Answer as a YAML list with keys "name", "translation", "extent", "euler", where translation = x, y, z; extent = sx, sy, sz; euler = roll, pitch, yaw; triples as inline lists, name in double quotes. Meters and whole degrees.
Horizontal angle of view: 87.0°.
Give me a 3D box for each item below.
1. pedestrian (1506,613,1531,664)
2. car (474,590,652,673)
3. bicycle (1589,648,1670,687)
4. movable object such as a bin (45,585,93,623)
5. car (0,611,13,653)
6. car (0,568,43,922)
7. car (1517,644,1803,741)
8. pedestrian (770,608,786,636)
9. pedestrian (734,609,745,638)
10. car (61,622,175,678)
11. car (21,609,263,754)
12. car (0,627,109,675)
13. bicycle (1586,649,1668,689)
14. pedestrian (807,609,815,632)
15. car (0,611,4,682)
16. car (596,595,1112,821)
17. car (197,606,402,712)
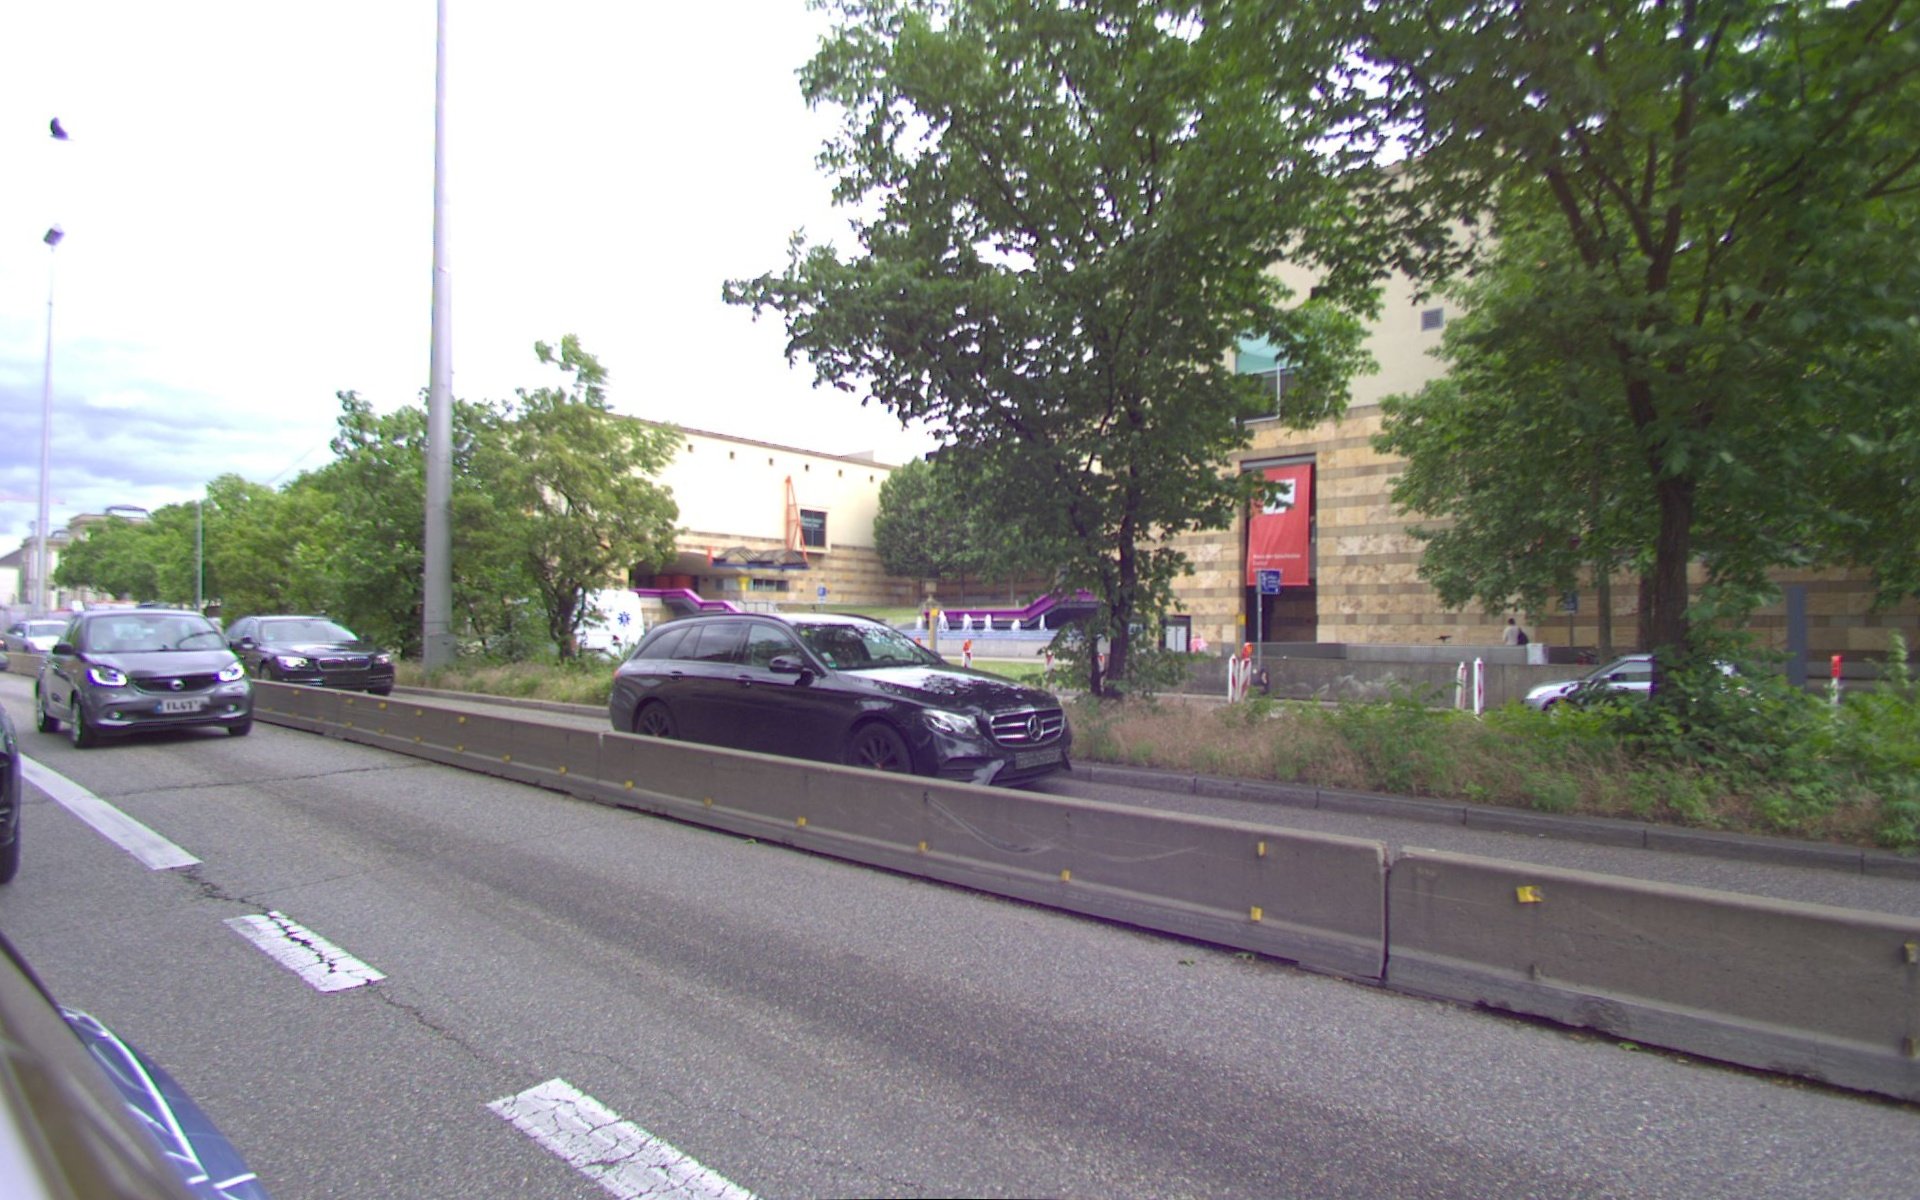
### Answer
- name: "pedestrian"
  translation: [17.401, 1.191, 31.511]
  extent: [0.620, 1.581, 0.434]
  euler: [-1, -2, 34]
- name: "car"
  translation: [-10.653, 0.840, 26.920]
  extent: [5.576, 1.984, 2.093]
  euler: [-2, -2, 42]
- name: "bicycle"
  translation: [19.018, 1.893, 28.781]
  extent: [0.559, 0.998, 1.847]
  euler: [-1, 0, -43]
- name: "movable object such as a bin"
  translation: [-54.657, 0.269, 62.061]
  extent: [3.286, 2.202, 1.508]
  euler: [-1, -2, 36]
- name: "car"
  translation: [-39.402, 1.251, 40.293]
  extent: [4.038, 1.633, 1.760]
  euler: [-1, -1, 36]
- name: "car"
  translation: [-6.706, 0.707, 5.301]
  extent: [4.190, 1.670, 1.887]
  euler: [-1, -2, 34]
- name: "car"
  translation: [12.345, 1.542, 17.987]
  extent: [3.998, 1.469, 1.829]
  euler: [-2, -2, 41]
- name: "pedestrian"
  translation: [-12.455, 1.518, 69.357]
  extent: [0.803, 1.867, 0.684]
  euler: [-1, 0, 42]
- name: "pedestrian"
  translation: [-14.656, 1.564, 67.286]
  extent: [0.682, 1.867, 0.806]
  euler: [-1, 0, -13]
- name: "car"
  translation: [-24.774, 1.413, 29.750]
  extent: [3.846, 1.518, 1.657]
  euler: [-1, -1, 36]
- name: "car"
  translation: [-10.202, 0.879, 12.523]
  extent: [3.998, 1.516, 1.668]
  euler: [-1, -1, 41]
- name: "car"
  translation: [-30.949, 1.665, 34.276]
  extent: [4.688, 1.492, 1.864]
  euler: [-1, -1, 32]
- name: "bicycle"
  translation: [18.562, 1.902, 28.206]
  extent: [0.483, 1.002, 1.847]
  euler: [-1, 0, -43]
- name: "pedestrian"
  translation: [-10.637, 1.458, 72.393]
  extent: [0.405, 1.623, 0.343]
  euler: [-1, 0, 42]
- name: "car"
  translation: [-24.776, 1.114, 24.615]
  extent: [3.995, 1.668, 1.669]
  euler: [-1, -1, 39]
- name: "car"
  translation: [-1.160, 0.763, 9.020]
  extent: [4.765, 1.510, 1.798]
  euler: [-1, -2, 40]
- name: "car"
  translation: [-11.918, 0.956, 18.118]
  extent: [4.935, 1.648, 1.903]
  euler: [-1, -1, 42]
